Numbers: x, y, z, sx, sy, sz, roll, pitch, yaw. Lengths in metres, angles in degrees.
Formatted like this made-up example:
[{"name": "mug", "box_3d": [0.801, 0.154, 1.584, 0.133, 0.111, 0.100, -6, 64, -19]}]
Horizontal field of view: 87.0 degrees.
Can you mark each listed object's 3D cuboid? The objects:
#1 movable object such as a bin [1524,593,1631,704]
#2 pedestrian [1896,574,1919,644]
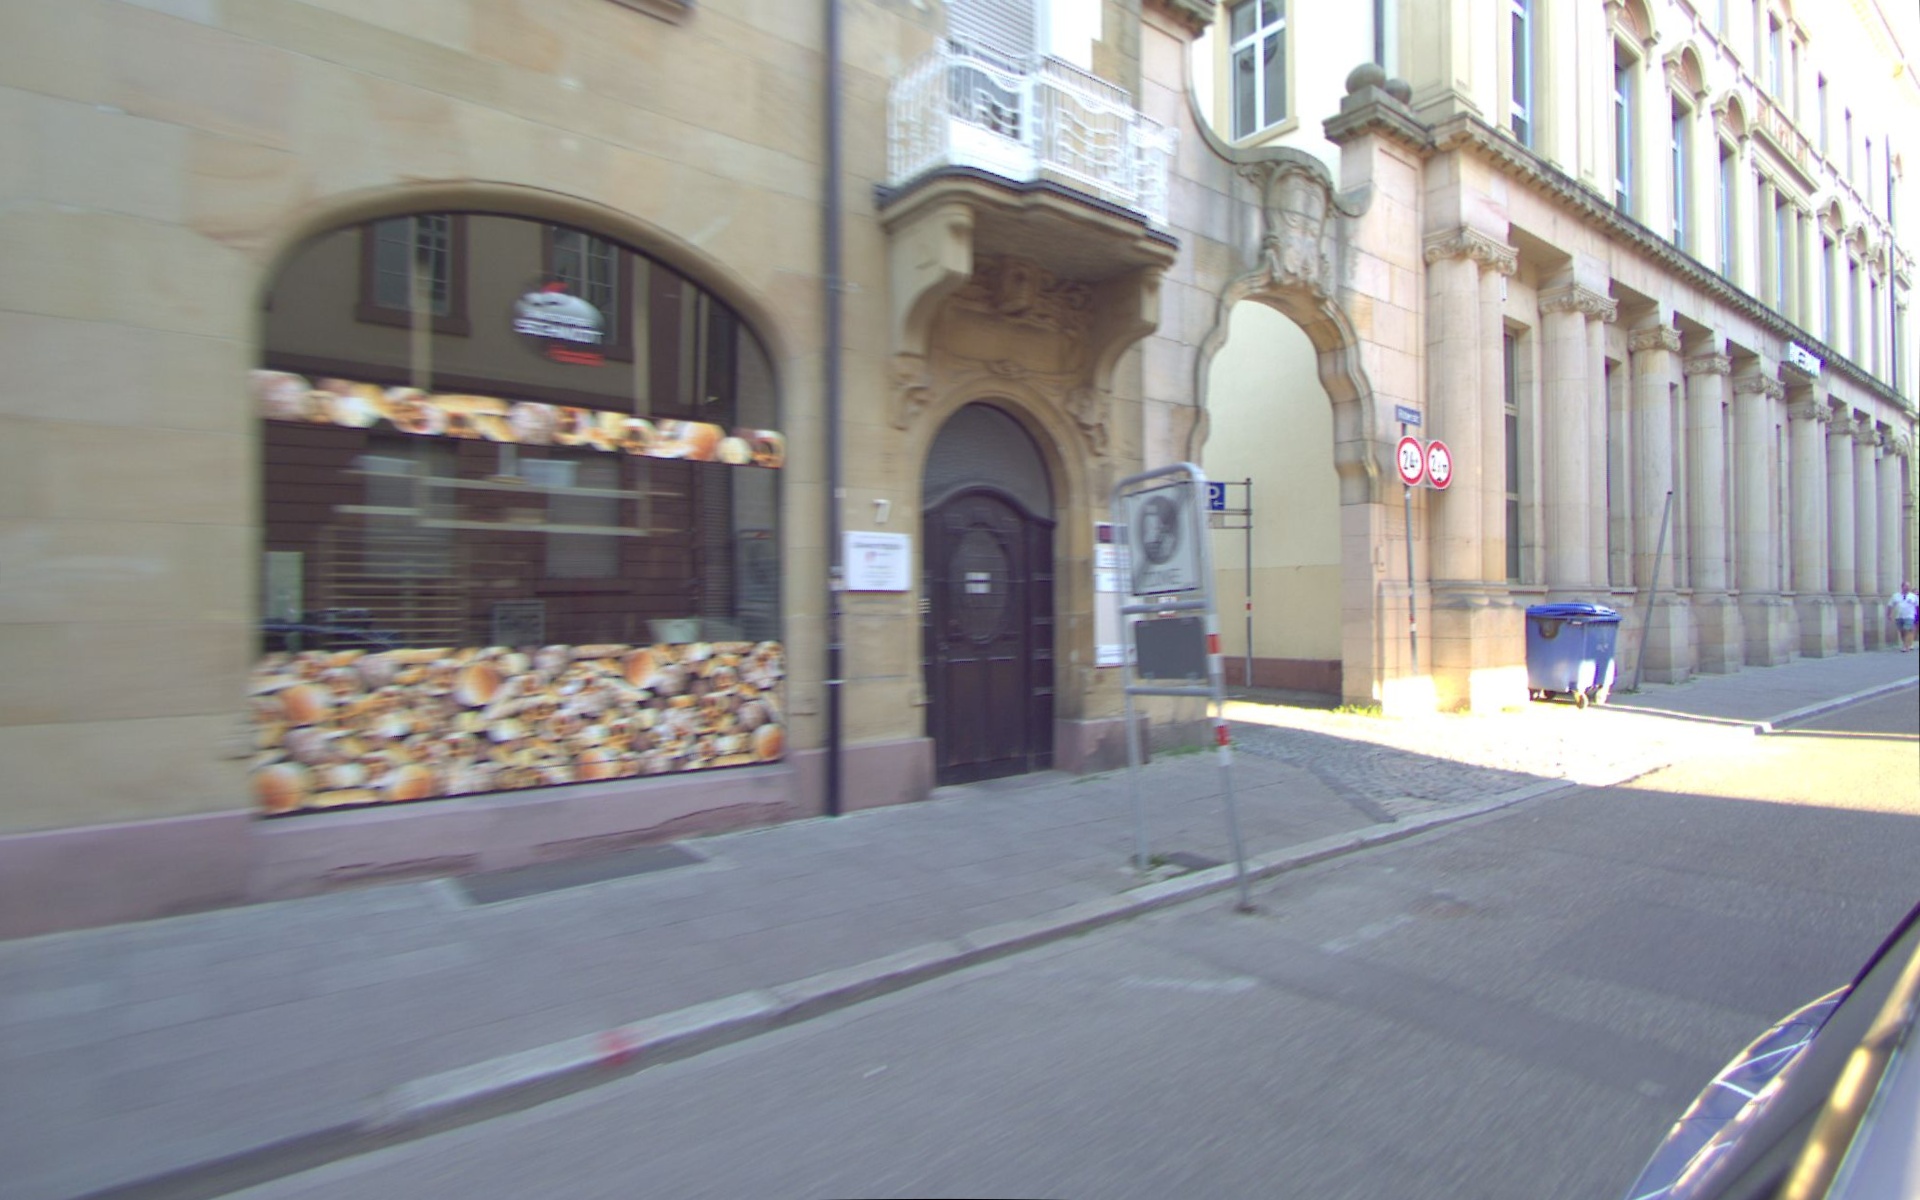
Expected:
[{"name": "movable object such as a bin", "box_3d": [8.335, 0.612, 13.664, 1.117, 1.392, 0.898, 0, 2, -40]}, {"name": "pedestrian", "box_3d": [25.109, 0.240, 26.560, 0.745, 1.801, 0.648, 0, 2, -41]}]
